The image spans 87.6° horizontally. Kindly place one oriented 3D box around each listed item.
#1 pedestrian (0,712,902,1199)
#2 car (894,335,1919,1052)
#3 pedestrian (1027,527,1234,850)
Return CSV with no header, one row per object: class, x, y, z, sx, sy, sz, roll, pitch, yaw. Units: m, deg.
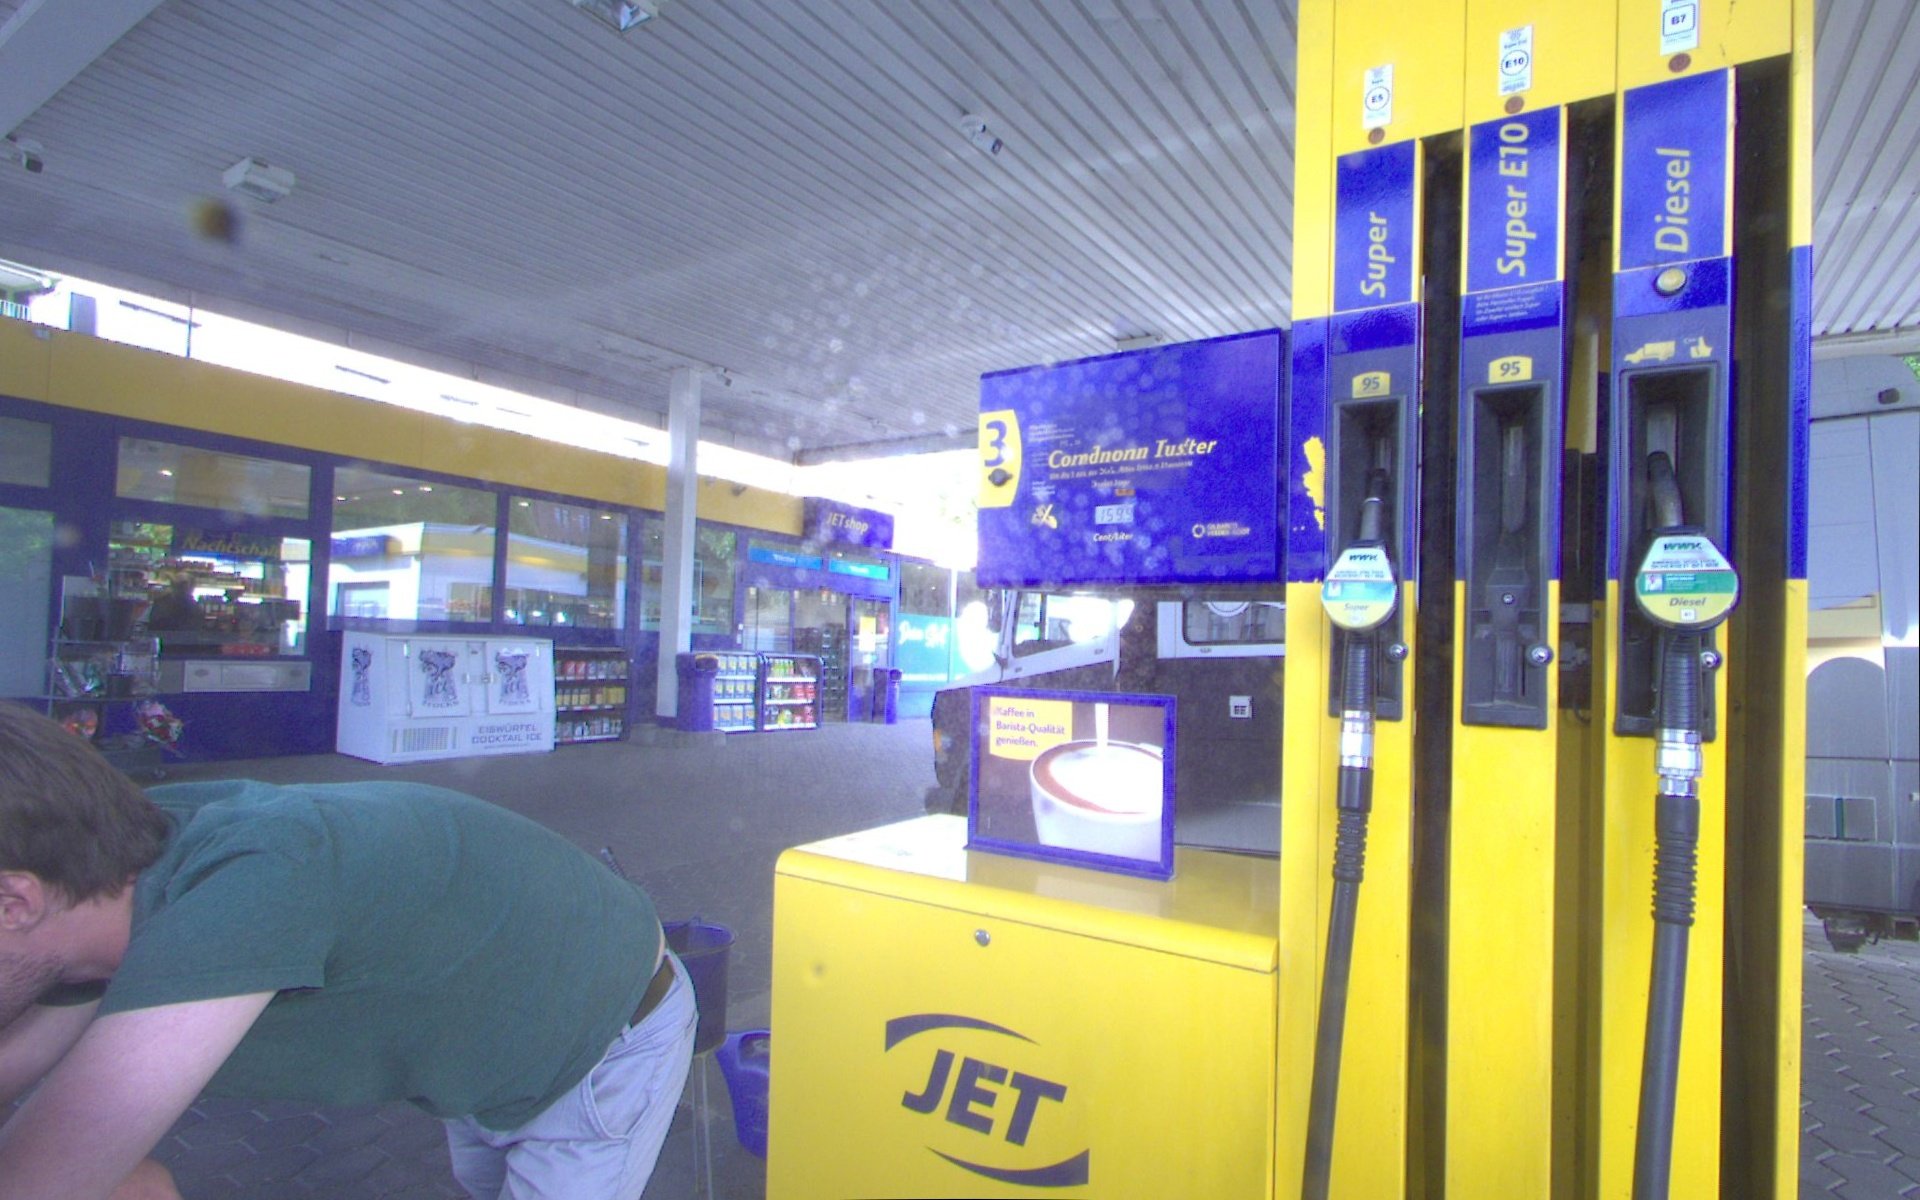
pedestrian,-0.544,0.809,1.083,0.664,1.298,0.749,-1,-1,31
car,2.379,0.414,6.028,5.219,2.724,2.250,0,-3,34
pedestrian,1.070,0.511,6.212,0.967,1.785,0.975,-1,-2,33
